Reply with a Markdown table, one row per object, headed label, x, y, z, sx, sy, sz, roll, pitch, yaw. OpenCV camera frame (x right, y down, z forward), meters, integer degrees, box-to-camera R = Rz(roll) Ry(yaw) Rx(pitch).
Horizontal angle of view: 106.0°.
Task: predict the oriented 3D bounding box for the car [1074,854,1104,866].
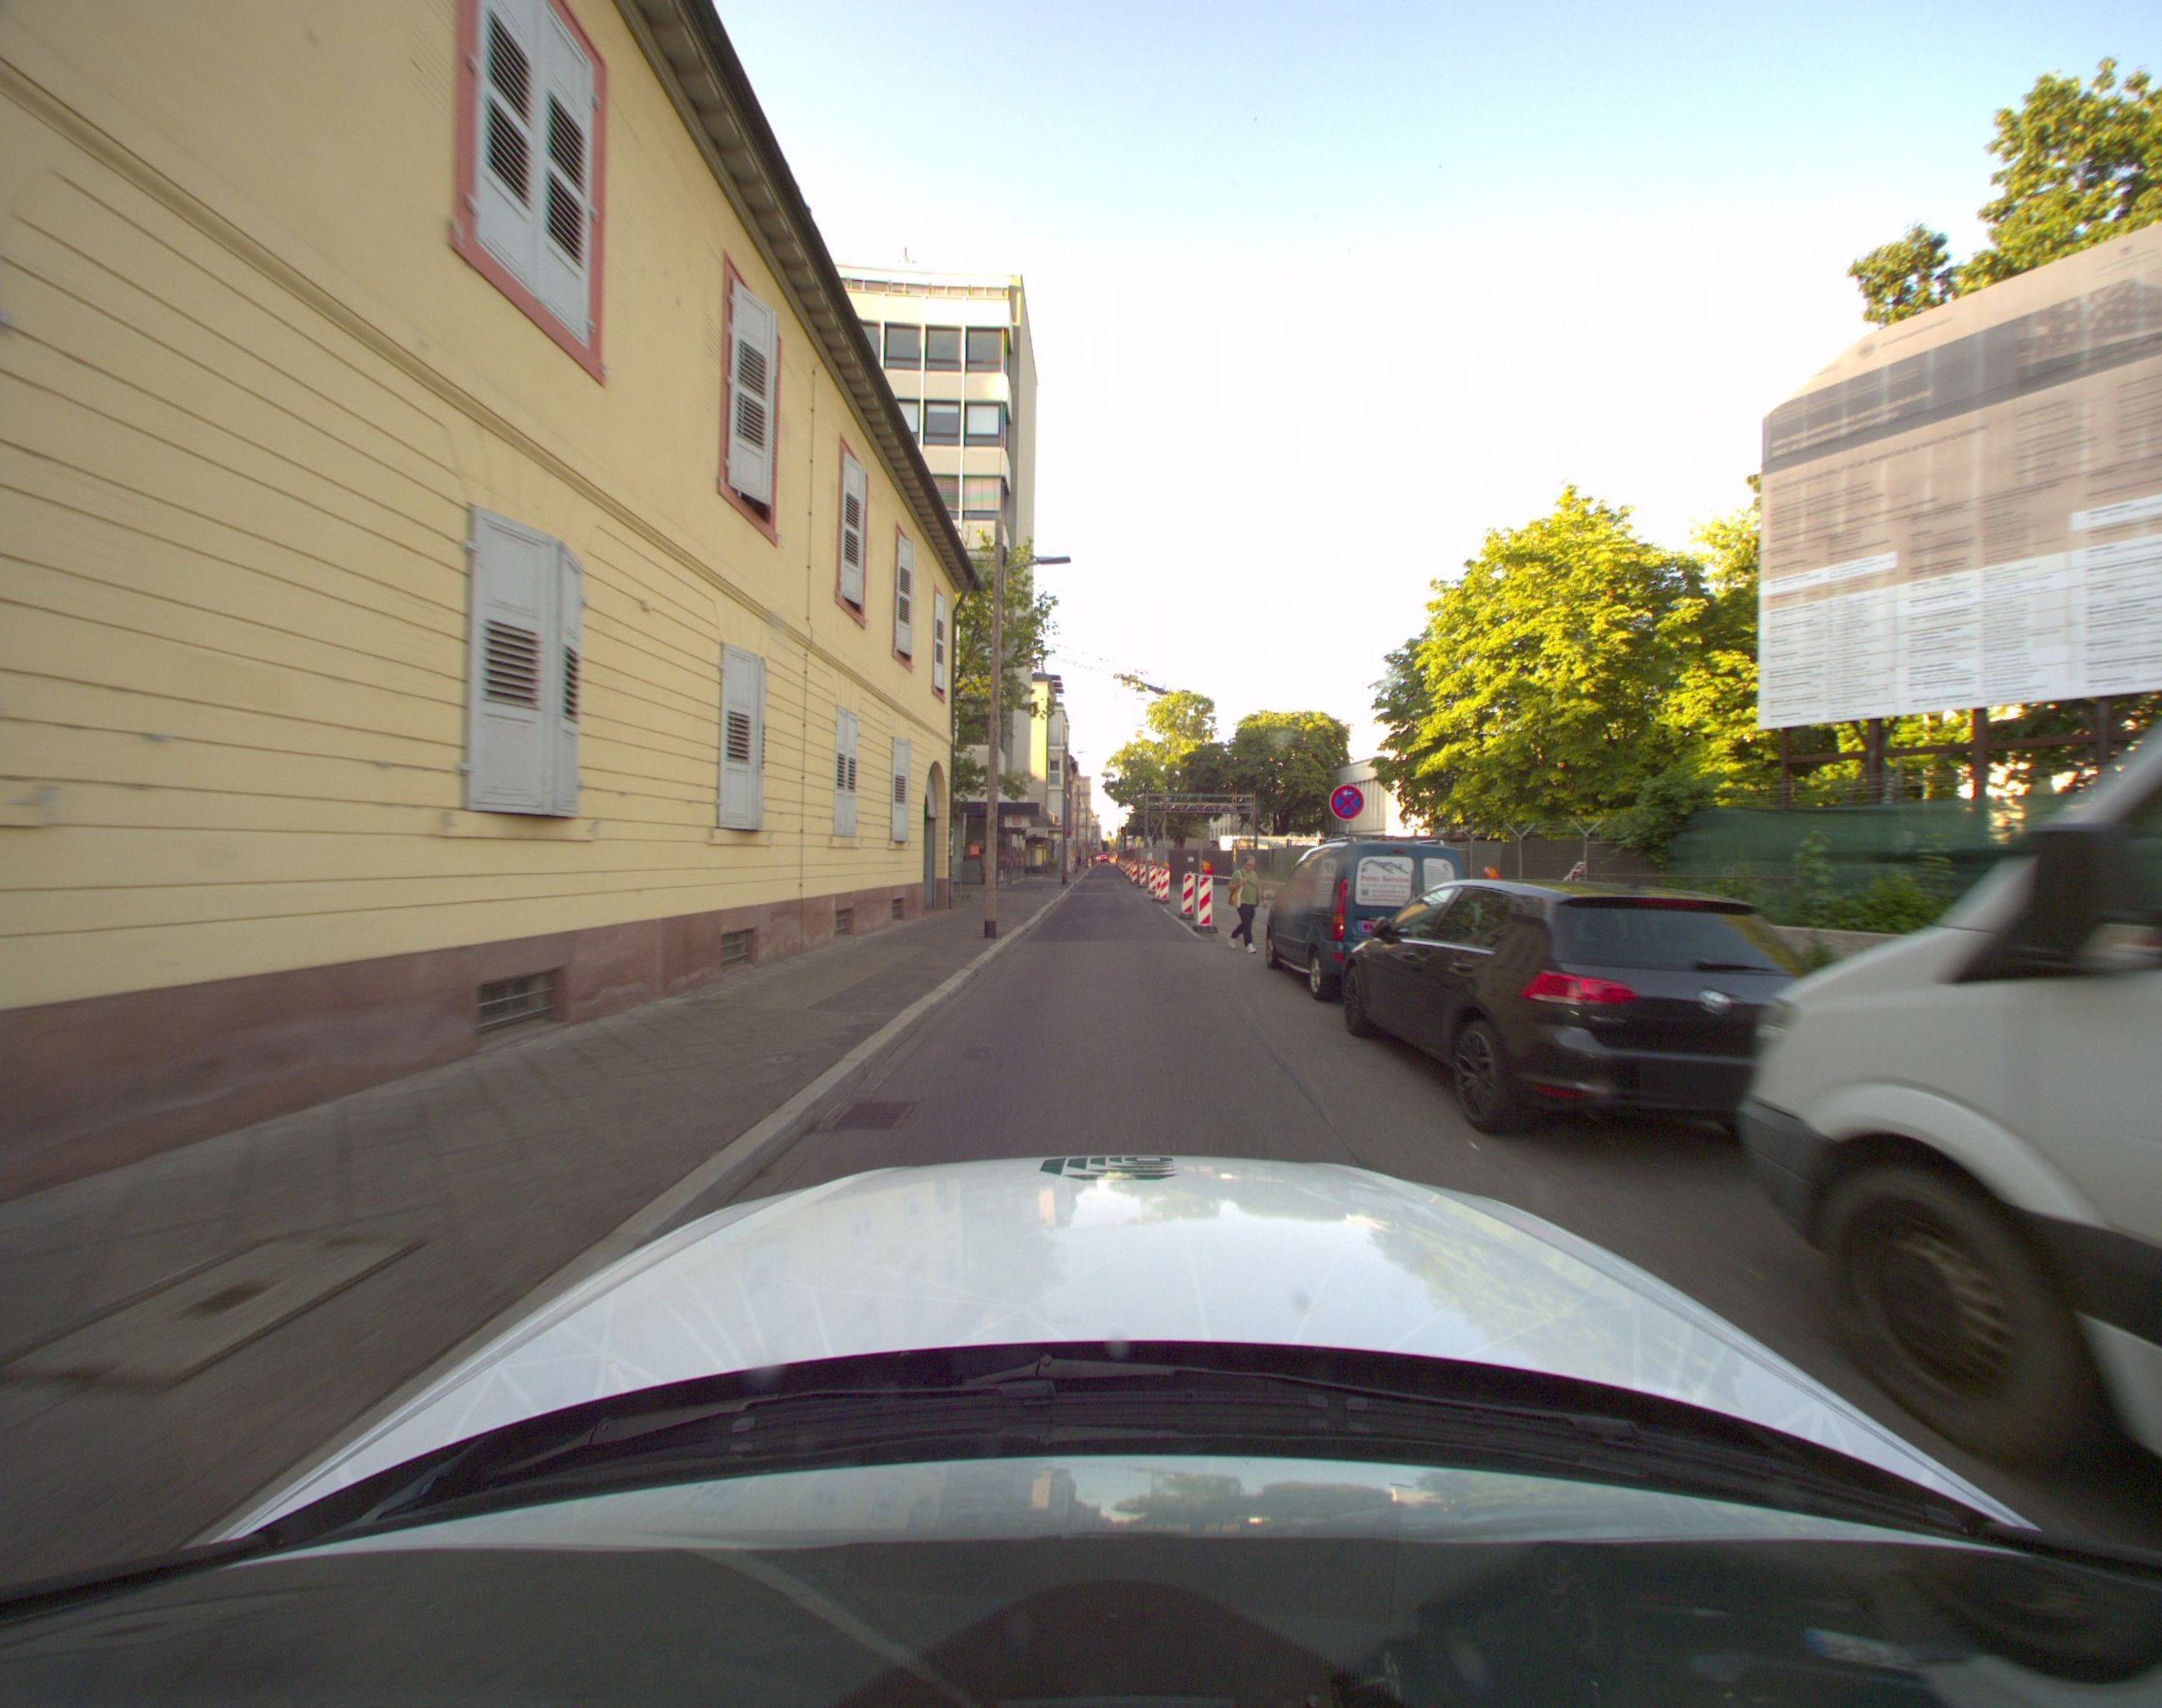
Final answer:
| label | x | y | z | sx | sy | sz | roll | pitch | yaw |
| --- | --- | --- | --- | --- | --- | --- | --- | --- | --- |
| car | 1.022 | 0.732 | 103.940 | 3.737 | 1.459 | 1.694 | 0 | -1 | -6 |

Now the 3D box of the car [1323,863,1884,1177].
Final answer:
| label | x | y | z | sx | sy | sz | roll | pitch | yaw |
| --- | --- | --- | --- | --- | --- | --- | --- | --- | --- |
| car | 3.165 | 0.830 | 6.044 | 1.685 | 1.459 | 4.101 | 1 | 0 | 3 |

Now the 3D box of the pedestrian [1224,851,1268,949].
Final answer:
| label | x | y | z | sx | sy | sz | roll | pitch | yaw |
| --- | --- | --- | --- | --- | --- | --- | --- | --- | --- |
| pedestrian | 2.850 | 0.770 | 14.119 | 0.610 | 1.629 | 0.819 | 1 | 0 | 4 |

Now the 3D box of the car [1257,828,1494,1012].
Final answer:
| label | x | y | z | sx | sy | sz | roll | pitch | yaw |
| --- | --- | --- | --- | --- | --- | --- | --- | --- | --- |
| car | 3.453 | 0.677 | 10.355 | 1.706 | 1.849 | 4.025 | 1 | 0 | 3 |

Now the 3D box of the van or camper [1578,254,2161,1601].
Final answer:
| label | x | y | z | sx | sy | sz | roll | pitch | yaw |
| --- | --- | --- | --- | --- | --- | --- | --- | --- | --- |
| van or camper | 3.199 | 0.145 | 0.581 | 2.068 | 2.775 | 6.455 | 1 | 0 | 3 |

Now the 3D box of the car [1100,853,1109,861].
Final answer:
| label | x | y | z | sx | sy | sz | roll | pitch | yaw |
| --- | --- | --- | --- | --- | --- | --- | --- | --- | --- |
| car | 5.054 | 0.602 | 176.150 | 1.852 | 1.662 | 4.001 | 1 | 0 | 2 |
